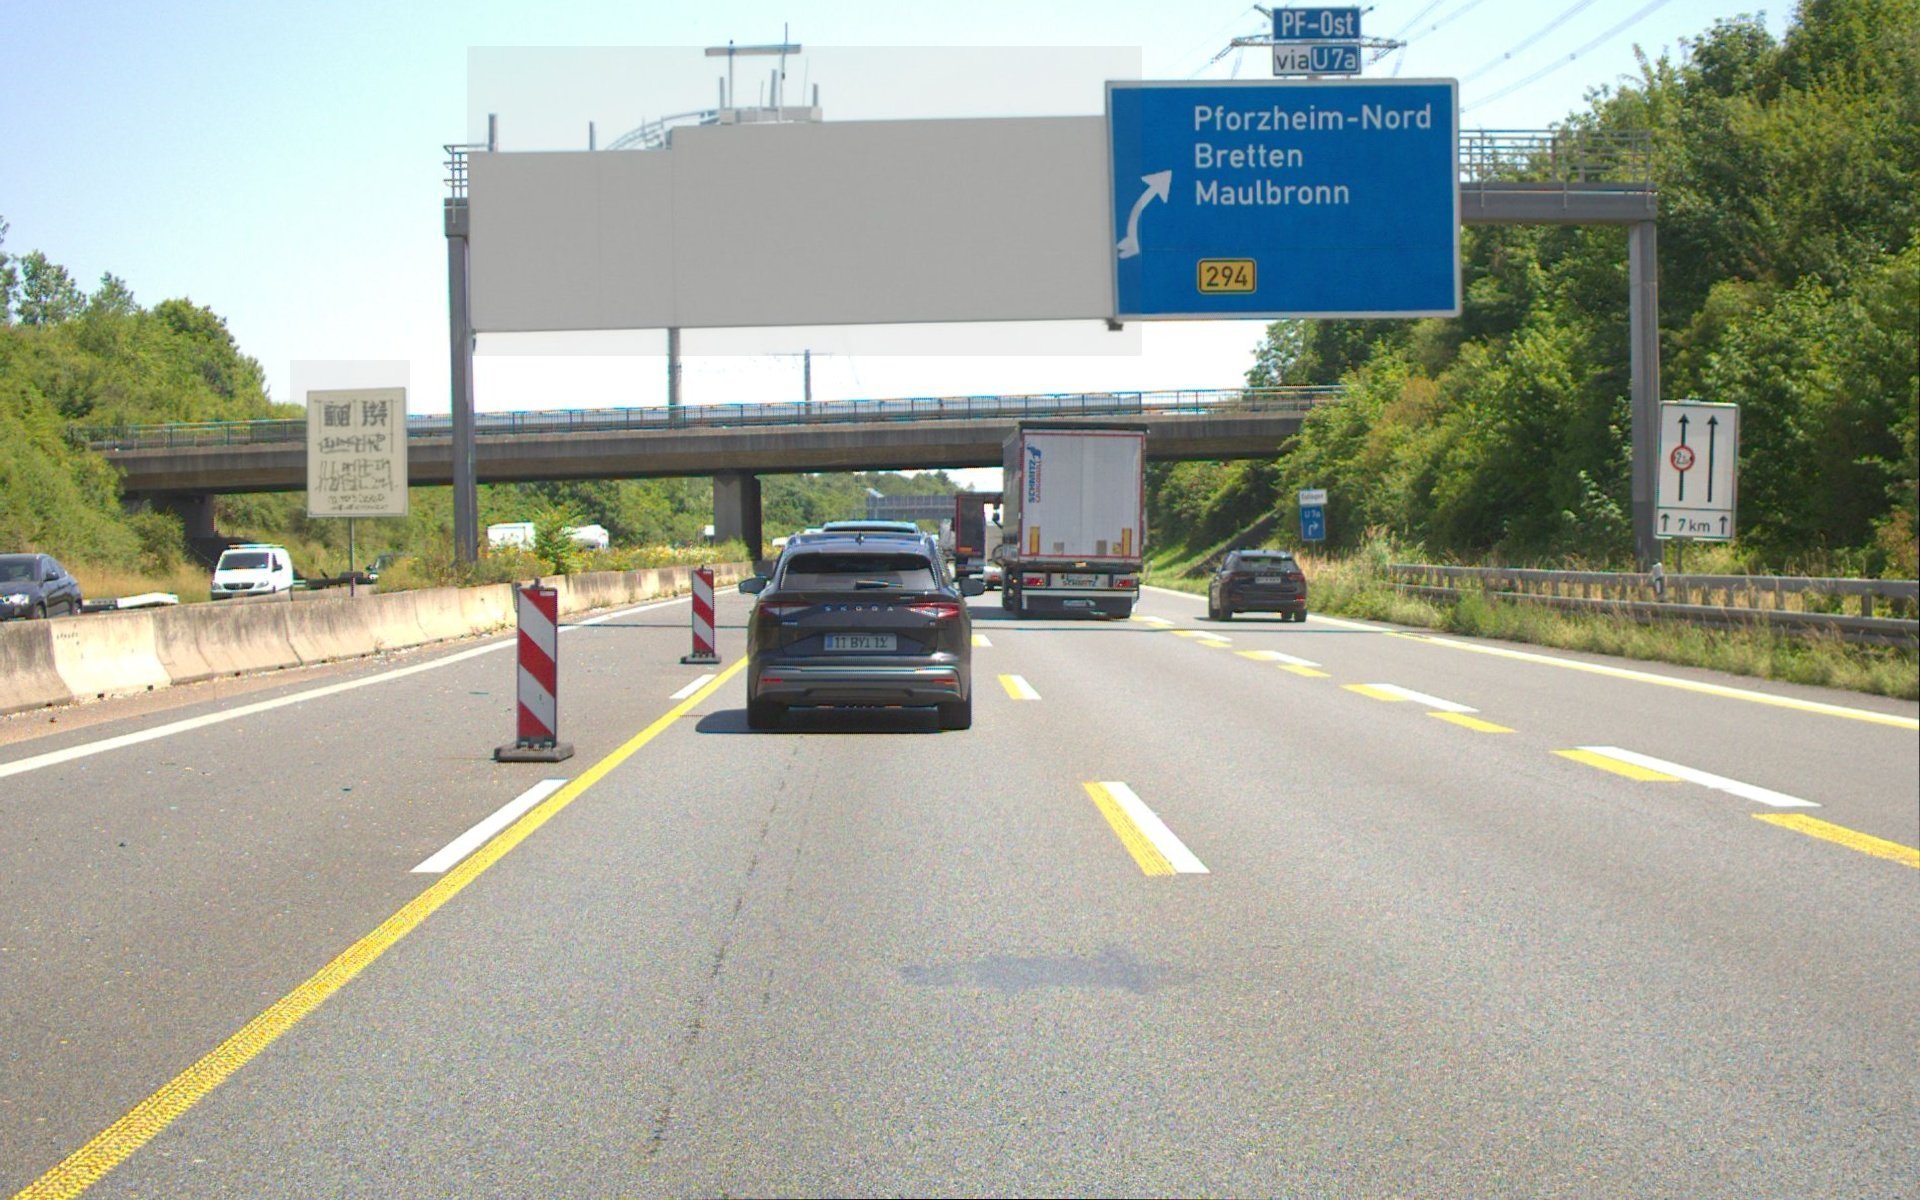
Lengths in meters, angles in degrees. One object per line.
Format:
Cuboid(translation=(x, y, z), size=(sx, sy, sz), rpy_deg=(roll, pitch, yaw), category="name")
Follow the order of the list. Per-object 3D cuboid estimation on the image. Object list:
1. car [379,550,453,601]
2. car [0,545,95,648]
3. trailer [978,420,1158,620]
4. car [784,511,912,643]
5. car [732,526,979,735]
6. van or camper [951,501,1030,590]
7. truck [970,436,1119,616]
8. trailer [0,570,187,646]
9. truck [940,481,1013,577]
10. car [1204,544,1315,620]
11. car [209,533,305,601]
Cuboid(translation=(-18.862, -0.854, 119.369), size=(1.872, 1.688, 4.498), rpy_deg=(-1, 1, -1), category="car")
Cuboid(translation=(-17.063, -0.099, 61.851), size=(1.913, 1.747, 4.566), rpy_deg=(1, 1, -1), category="car")
Cuboid(translation=(2.206, -1.721, 75.041), size=(3.065, 4.028, 11.489), rpy_deg=(0, 1, -2), category="trailer")
Cuboid(translation=(-1.808, -0.409, 55.480), size=(1.895, 1.835, 4.443), rpy_deg=(3, 3, -2), category="car")
Cuboid(translation=(-0.894, 0.188, 29.108), size=(1.895, 1.586, 4.443), rpy_deg=(-1, 1, -2), category="car")
Cuboid(translation=(1.039, -1.919, 119.688), size=(2.586, 2.958, 6.085), rpy_deg=(2, 1, 0), category="van or camper")
Cuboid(translation=(1.928, -1.747, 81.727), size=(3.024, 4.073, 7.796), rpy_deg=(0, 1, -2), category="truck")
Cuboid(translation=(-17.176, 0.123, 67.771), size=(2.356, 1.339, 7.217), rpy_deg=(-1, 1, -1), category="trailer")
Cuboid(translation=(0.730, -3.184, 156.076), size=(3.078, 4.132, 13.055), rpy_deg=(1, 1, 0), category="truck")
Cuboid(translation=(6.187, -0.396, 71.347), size=(1.779, 1.484, 4.464), rpy_deg=(1, 1, -1), category="car")
Cuboid(translation=(-21.720, -1.040, 106.409), size=(1.930, 2.007, 5.597), rpy_deg=(-1, 1, -1), category="car")
